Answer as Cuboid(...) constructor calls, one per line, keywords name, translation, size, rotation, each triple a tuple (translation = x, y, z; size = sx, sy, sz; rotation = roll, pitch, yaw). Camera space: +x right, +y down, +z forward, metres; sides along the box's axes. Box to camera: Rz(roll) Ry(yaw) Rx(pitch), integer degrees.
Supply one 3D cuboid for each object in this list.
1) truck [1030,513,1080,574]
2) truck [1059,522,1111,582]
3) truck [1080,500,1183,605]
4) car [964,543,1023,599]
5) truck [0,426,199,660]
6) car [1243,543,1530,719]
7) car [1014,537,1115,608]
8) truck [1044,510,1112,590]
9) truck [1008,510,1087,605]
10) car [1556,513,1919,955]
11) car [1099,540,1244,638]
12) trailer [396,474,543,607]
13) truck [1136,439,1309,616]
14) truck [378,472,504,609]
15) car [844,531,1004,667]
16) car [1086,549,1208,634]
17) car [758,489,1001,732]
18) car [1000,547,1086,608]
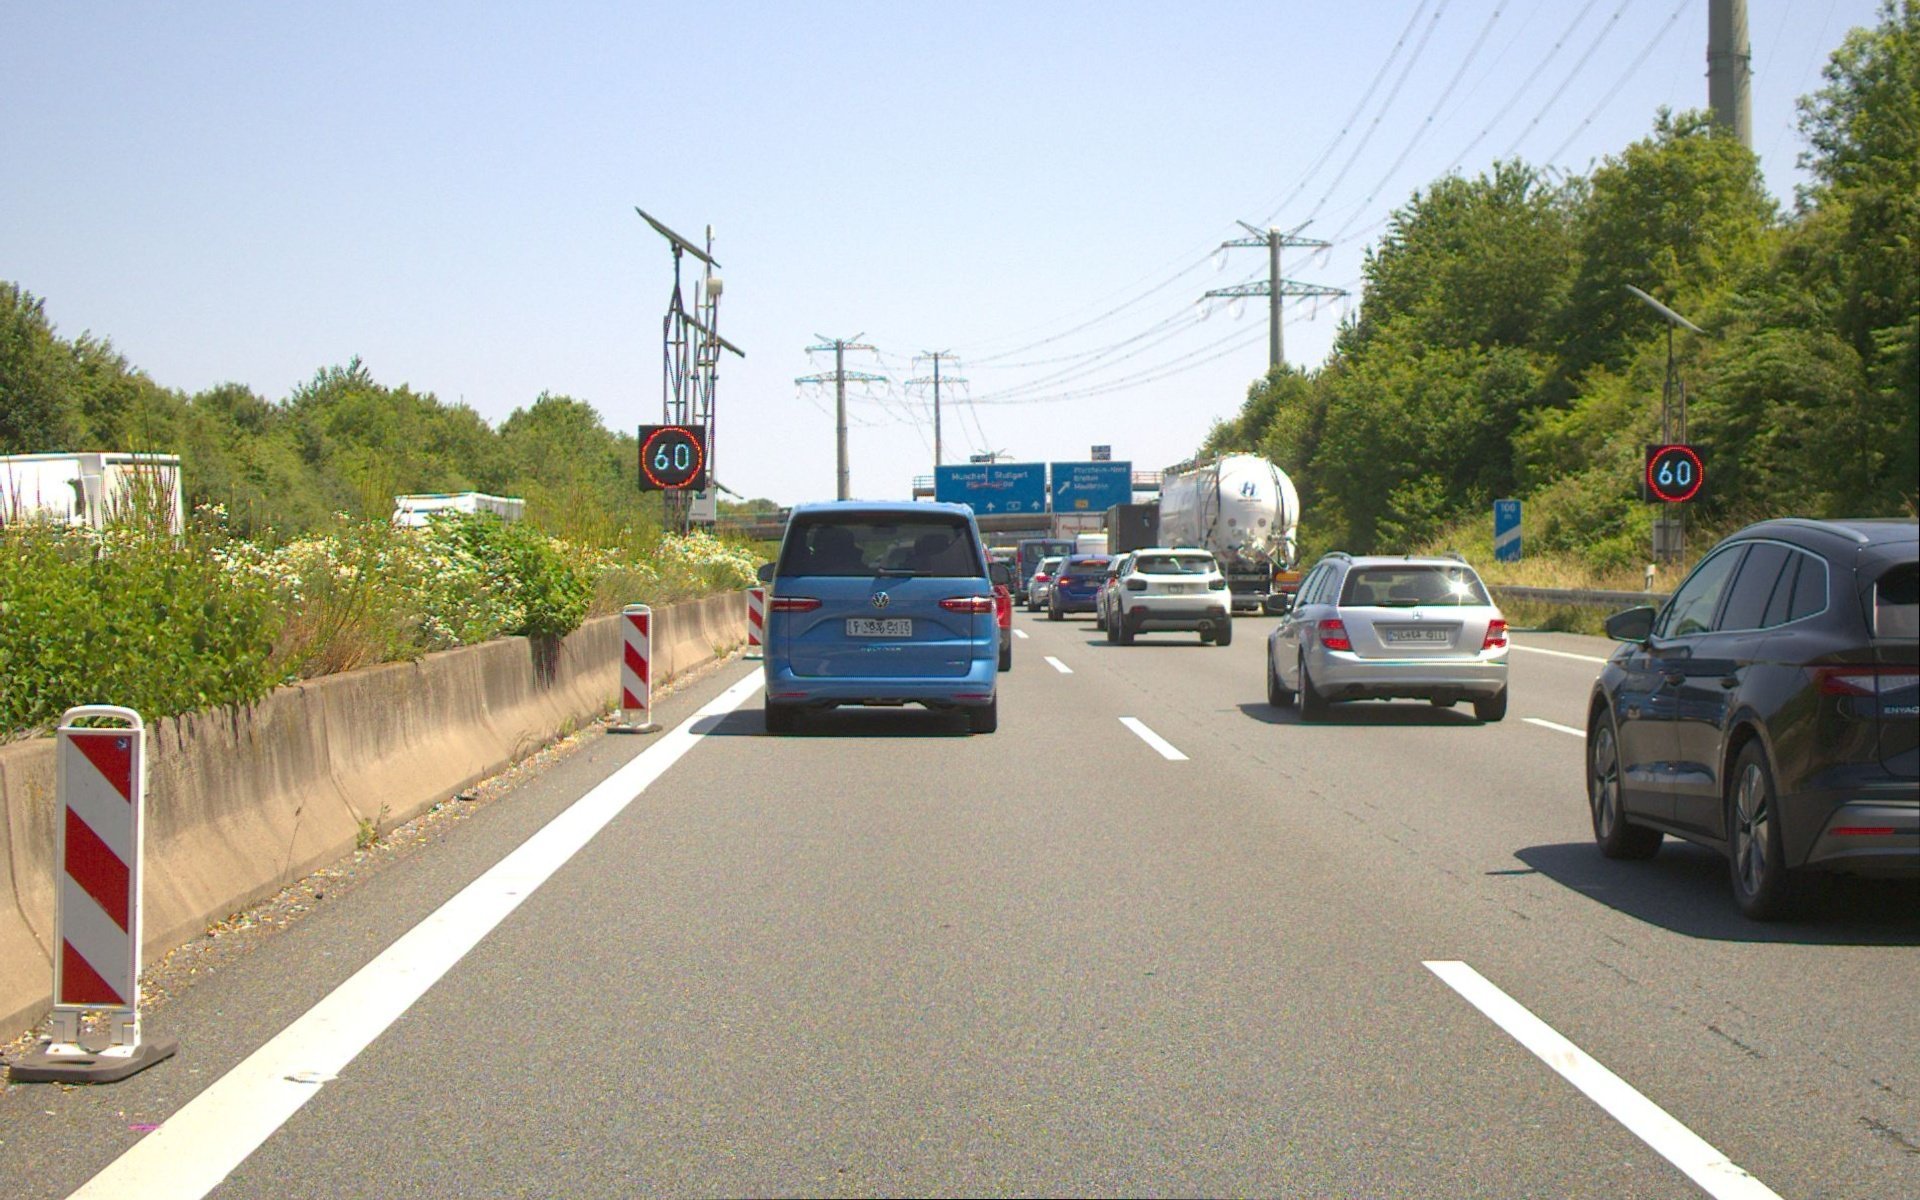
Cuboid(name="truck", translation=(6.939, -4.131, 252.772), size=(2.938, 4.276, 12.553), rotation=(1, 1, -2))
Cuboid(name="truck", translation=(5.772, -2.213, 159.525), size=(1.993, 2.714, 5.680), rotation=(1, 1, -2))
Cuboid(name="truck", translation=(6.035, -1.712, 123.167), size=(2.644, 3.526, 12.553), rotation=(1, 1, -2))
Cuboid(name="car", translation=(1.216, -1.076, 126.070), size=(1.993, 2.007, 4.000), rotation=(1, 1, -2))
Cuboid(name="truck", translation=(-16.310, -1.000, 62.856), size=(2.762, 3.875, 9.030), rotation=(-3, 1, -1))
Cuboid(name="car", translation=(3.731, 0.227, 30.798), size=(1.821, 1.432, 4.384), rotation=(1, 1, -3))
Cuboid(name="car", translation=(2.298, -0.632, 76.619), size=(1.908, 1.511, 4.384), rotation=(1, 1, -3))
Cuboid(name="truck", translation=(6.499, -2.781, 191.617), size=(2.938, 4.276, 12.553), rotation=(1, 1, -2))
Cuboid(name="truck", translation=(2.563, -1.270, 101.832), size=(1.993, 2.714, 5.680), rotation=(1, 1, -2))
Cuboid(name="car", translation=(3.927, 0.453, 14.788), size=(1.828, 1.609, 4.431), rotation=(0, 1, -2))
Cuboid(name="car", translation=(3.372, -0.198, 55.440), size=(1.908, 1.503, 3.922), rotation=(1, 1, -3))
Cuboid(name="trailer", translation=(-16.794, -2.030, 118.817), size=(3.016, 4.152, 14.021), rotation=(-3, 1, -1))
Cuboid(name="truck", translation=(6.511, -1.795, 88.106), size=(2.644, 4.058, 16.442), rotation=(1, 1, -2))
Cuboid(name="truck", translation=(-16.723, -1.920, 111.040), size=(3.016, 4.152, 5.806), rotation=(-3, 1, -1))
Cuboid(name="car", translation=(-0.502, -0.046, 43.427), size=(1.908, 1.625, 4.384), rotation=(0, 1, -2))
Cuboid(name="car", translation=(3.589, -0.192, 66.667), size=(1.908, 1.564, 4.384), rotation=(1, 1, -3))
Cuboid(name="car", translation=(-0.733, 0.054, 29.100), size=(1.871, 1.873, 4.384), rotation=(1, 1, -3))
Cuboid(name="car", translation=(2.132, -0.590, 89.048), size=(1.908, 1.511, 4.384), rotation=(1, 1, -3))
